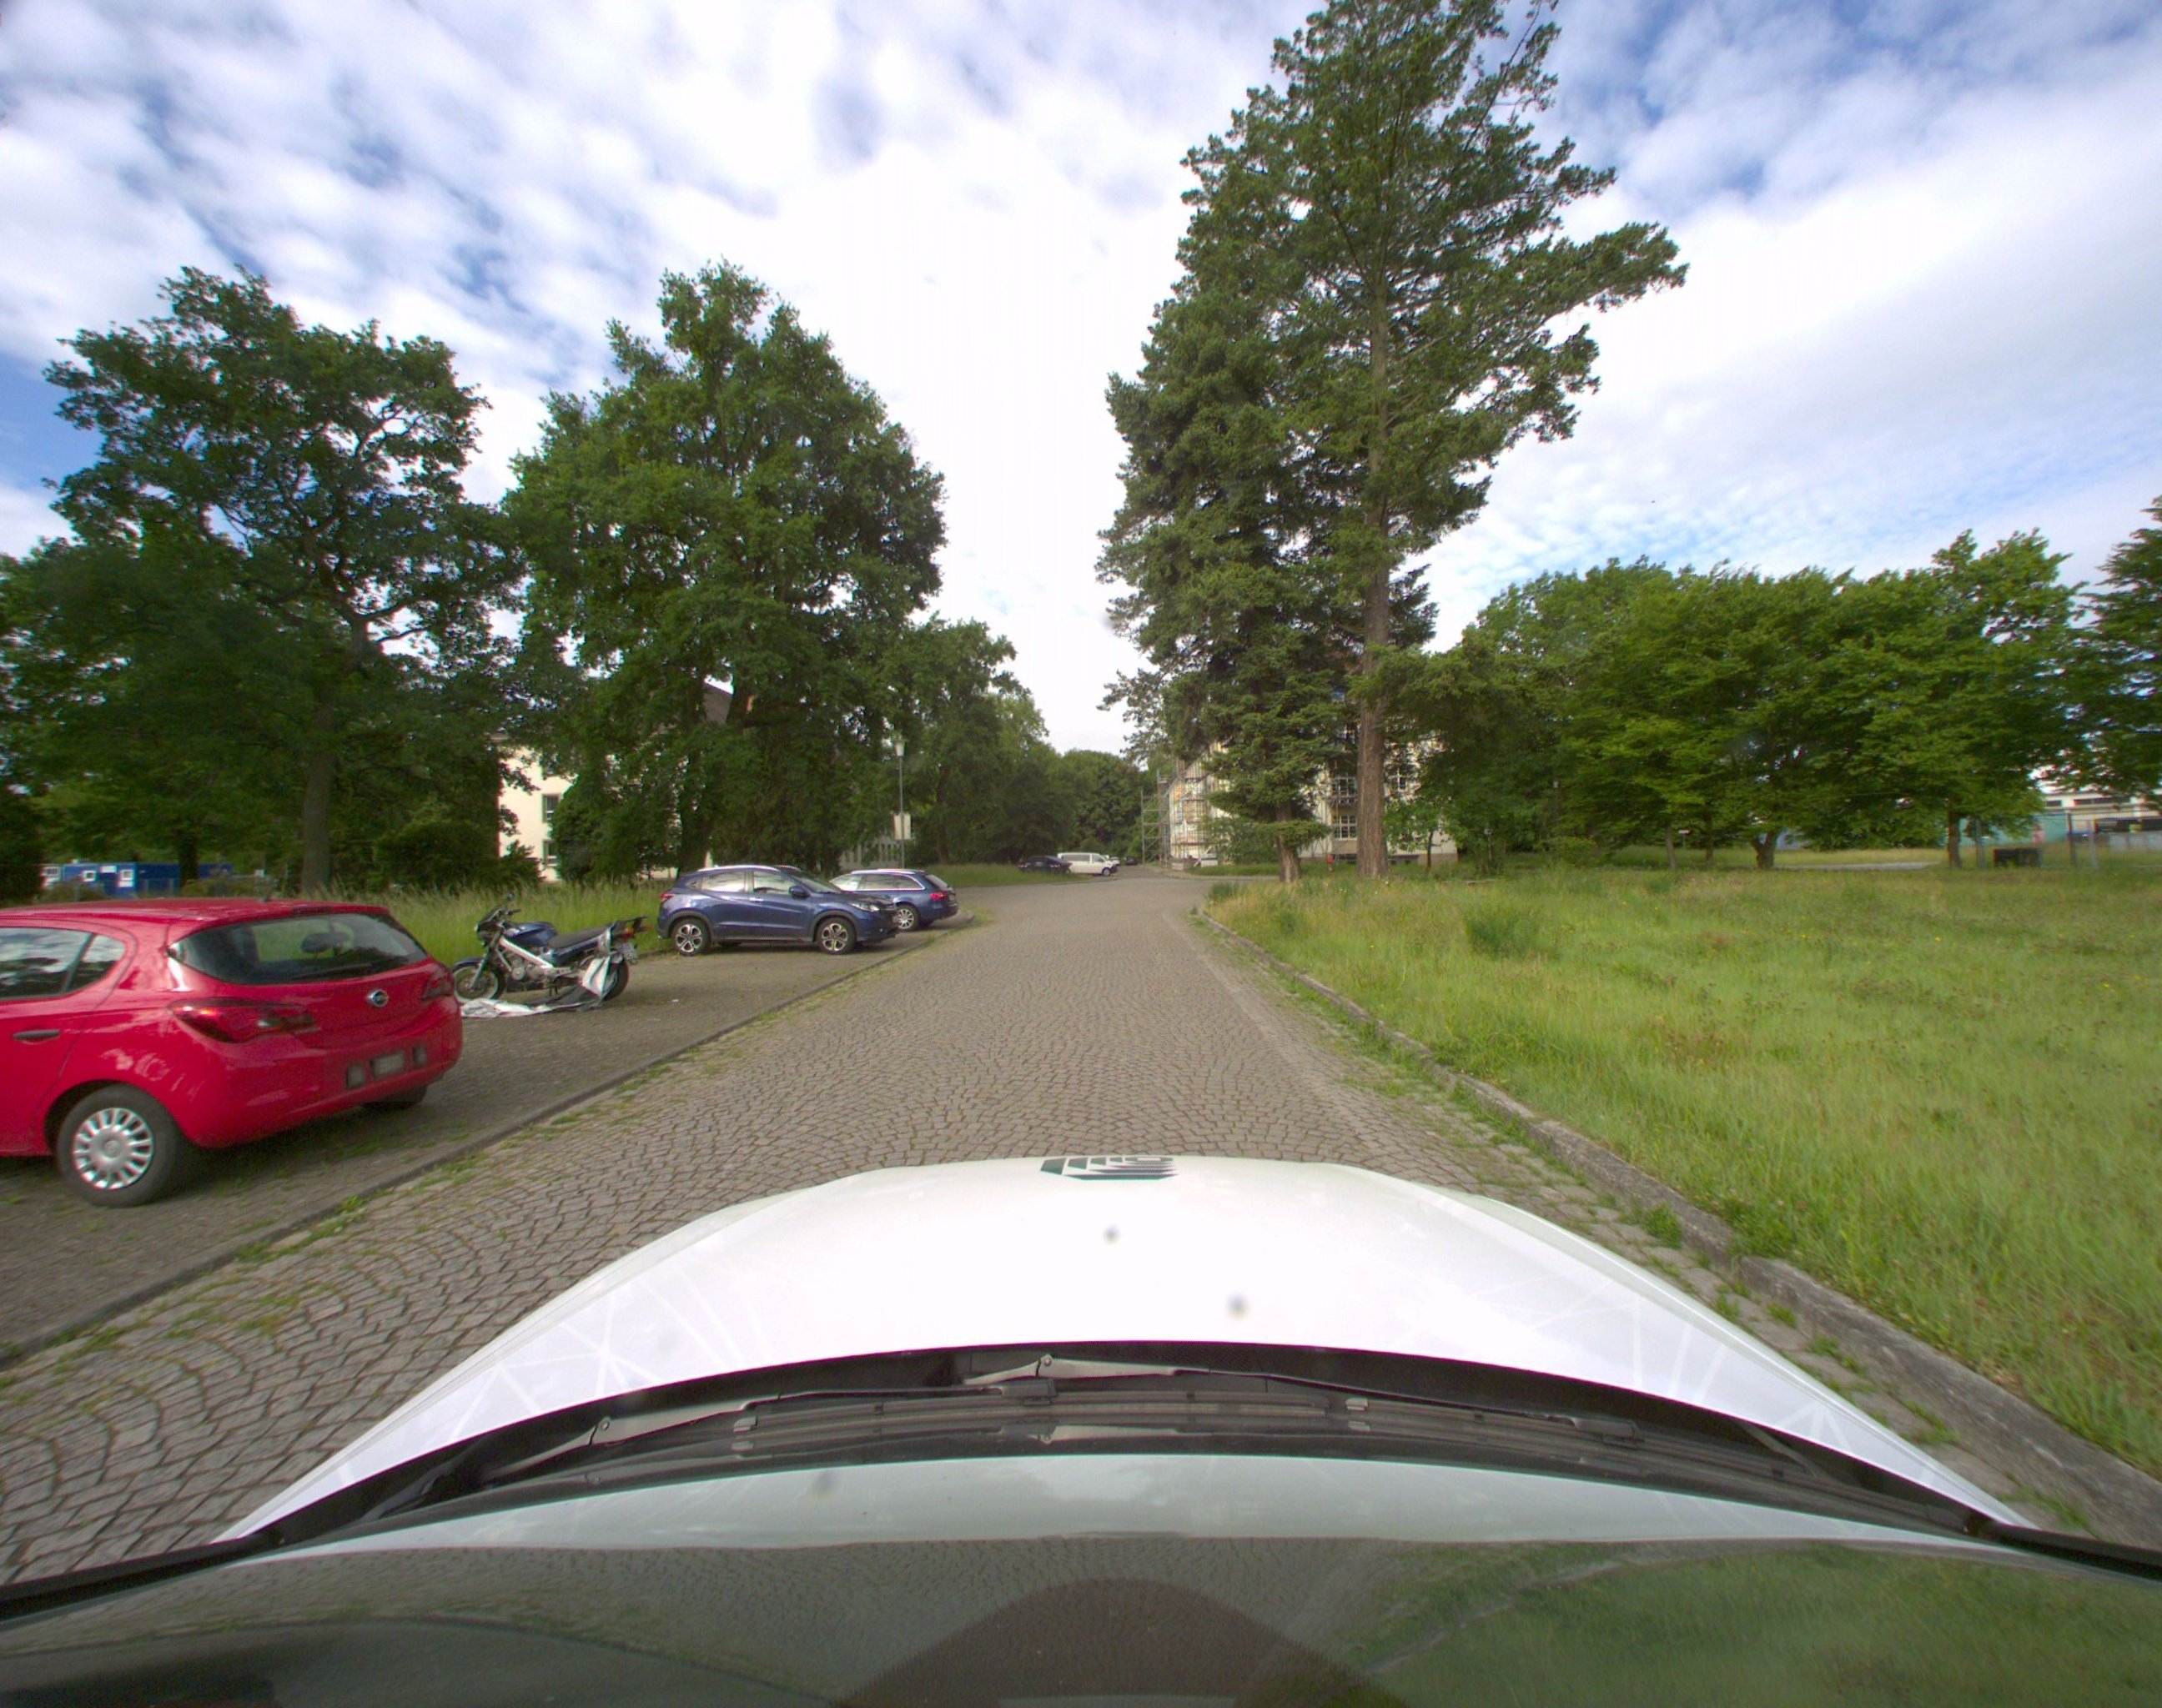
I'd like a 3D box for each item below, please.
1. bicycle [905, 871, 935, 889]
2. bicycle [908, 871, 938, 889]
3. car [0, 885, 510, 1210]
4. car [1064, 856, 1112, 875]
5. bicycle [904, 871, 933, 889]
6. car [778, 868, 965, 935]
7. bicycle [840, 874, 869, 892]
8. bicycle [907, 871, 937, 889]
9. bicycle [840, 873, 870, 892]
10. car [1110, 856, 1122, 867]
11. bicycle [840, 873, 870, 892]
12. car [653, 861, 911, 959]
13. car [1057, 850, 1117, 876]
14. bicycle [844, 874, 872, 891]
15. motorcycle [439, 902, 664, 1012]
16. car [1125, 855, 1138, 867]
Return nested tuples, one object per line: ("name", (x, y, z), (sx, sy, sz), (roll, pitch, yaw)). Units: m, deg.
("bicycle", (-9.890, 1.613, 49.929), (1.706, 1.053, 0.571), (-1, -2, -19))
("bicycle", (-9.399, 1.550, 48.458), (1.706, 1.053, 0.571), (-1, -2, -19))
("car", (-5.975, 1.010, 4.882), (3.802, 1.489, 1.788), (-1, 0, 1))
("car", (0.742, 1.235, 86.103), (4.961, 1.968, 2.052), (-1, -2, 0))
("bicycle", (-10.128, 1.643, 50.661), (1.706, 1.053, 0.571), (-1, -2, -19))
("car", (-5.029, 1.131, 19.816), (4.051, 1.467, 1.628), (-1, 0, 5))
("bicycle", (-14.026, 1.769, 50.376), (1.706, 1.053, 0.571), (-1, -2, -19))
("bicycle", (-9.589, 1.574, 49.025), (1.706, 1.053, 0.571), (-1, -2, -19))
("bicycle", (-13.717, 1.728, 49.394), (1.706, 1.053, 0.571), (-1, -2, -19))
("car", (5.743, 1.280, 134.640), (1.784, 1.636, 4.061), (-2, -2, 1))
("bicycle", (-13.542, 1.705, 48.842), (1.706, 1.053, 0.571), (-1, -2, -19))
("car", (-5.415, 0.988, 15.126), (4.058, 1.604, 1.787), (-1, 0, 0))
("car", (0.537, 0.786, 68.685), (4.961, 2.073, 2.052), (-1, -2, 0))
("bicycle", (-14.277, 1.833, 52.195), (1.706, 1.053, 0.571), (-1, -2, -19))
("motorcycle", (-6.112, 1.178, 9.452), (2.216, 1.159, 0.647), (-2, 0, 4))
("car", (8.366, 1.156, 134.892), (1.784, 1.720, 4.061), (-2, -2, 1))
